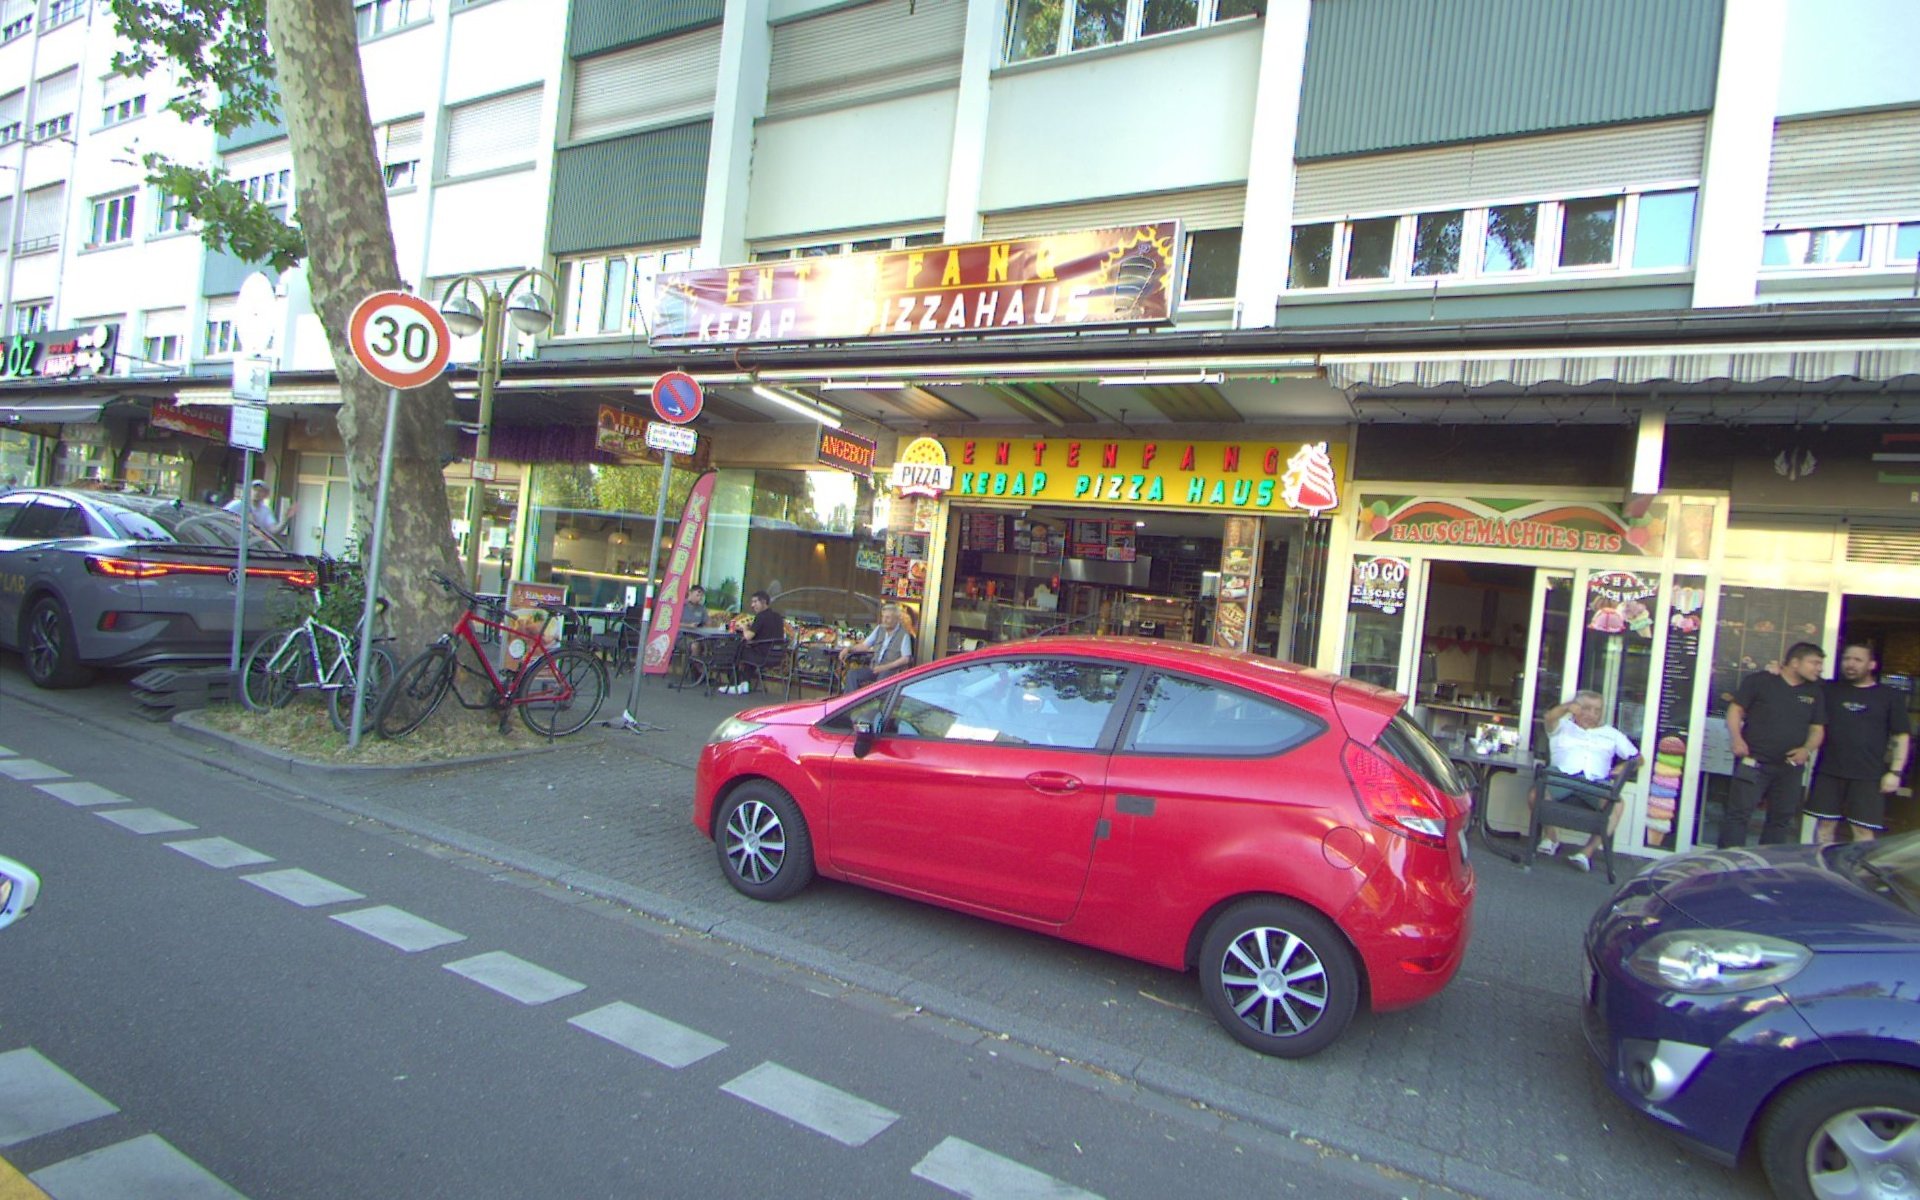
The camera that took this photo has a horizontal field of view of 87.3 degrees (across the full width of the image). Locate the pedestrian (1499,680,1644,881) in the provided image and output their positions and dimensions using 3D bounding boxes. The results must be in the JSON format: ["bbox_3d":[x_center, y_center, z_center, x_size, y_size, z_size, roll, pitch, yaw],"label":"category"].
[{"bbox_3d":[4.642,1.299,7.622,0.767,1.249,1.202,6,3,33],"label":"pedestrian"}]

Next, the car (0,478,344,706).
[{"bbox_3d":[-7.836,-0.202,9.212,4.223,1.619,1.742,7,2,27],"label":"car"}]

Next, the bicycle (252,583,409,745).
[{"bbox_3d":[-4.439,0.427,7.079,1.110,0.941,0.295,9,6,21],"label":"bicycle"}]

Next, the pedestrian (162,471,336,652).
[{"bbox_3d":[-8.216,-0.419,11.670,1.101,1.913,1.025,6,0,12],"label":"pedestrian"}]

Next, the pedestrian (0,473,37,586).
[{"bbox_3d":[-17.917,-1.338,18.774,0.684,2.038,0.692,7,1,29],"label":"pedestrian"}]

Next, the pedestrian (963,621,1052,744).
[{"bbox_3d":[0.498,0.828,10.381,0.585,1.172,0.671,6,3,31],"label":"pedestrian"}]

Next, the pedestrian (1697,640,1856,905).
[{"bbox_3d":[5.887,1.207,7.296,0.587,1.759,0.588,8,3,28],"label":"pedestrian"}]

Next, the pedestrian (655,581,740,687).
[{"bbox_3d":[-3.230,0.410,12.361,0.694,1.220,0.675,7,3,42],"label":"pedestrian"}]

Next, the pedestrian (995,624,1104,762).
[{"bbox_3d":[0.837,0.841,9.411,0.740,1.172,0.593,6,3,33],"label":"pedestrian"}]

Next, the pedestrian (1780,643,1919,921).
[{"bbox_3d":[6.388,1.234,7.109,0.636,1.783,0.610,8,3,30],"label":"pedestrian"}]

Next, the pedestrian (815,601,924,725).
[{"bbox_3d":[-0.973,0.665,10.865,0.861,1.237,0.688,2,3,-44],"label":"pedestrian"}]

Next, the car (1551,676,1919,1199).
[{"bbox_3d":[3.877,1.225,2.903,3.543,1.485,1.620,7,2,29],"label":"car"}]

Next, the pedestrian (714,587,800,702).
[{"bbox_3d":[-2.385,0.513,11.798,0.701,1.260,0.614,7,3,41],"label":"pedestrian"}]

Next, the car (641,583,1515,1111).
[{"bbox_3d":[0.483,0.848,4.993,3.780,1.448,1.668,7,2,27],"label":"car"}]

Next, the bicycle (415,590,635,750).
[{"bbox_3d":[-3.227,0.507,7.557,0.291,1.082,1.455,12,7,42],"label":"bicycle"}]

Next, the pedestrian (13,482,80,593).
[{"bbox_3d":[-17.668,-1.200,19.461,0.684,2.038,0.613,7,1,27],"label":"pedestrian"}]
